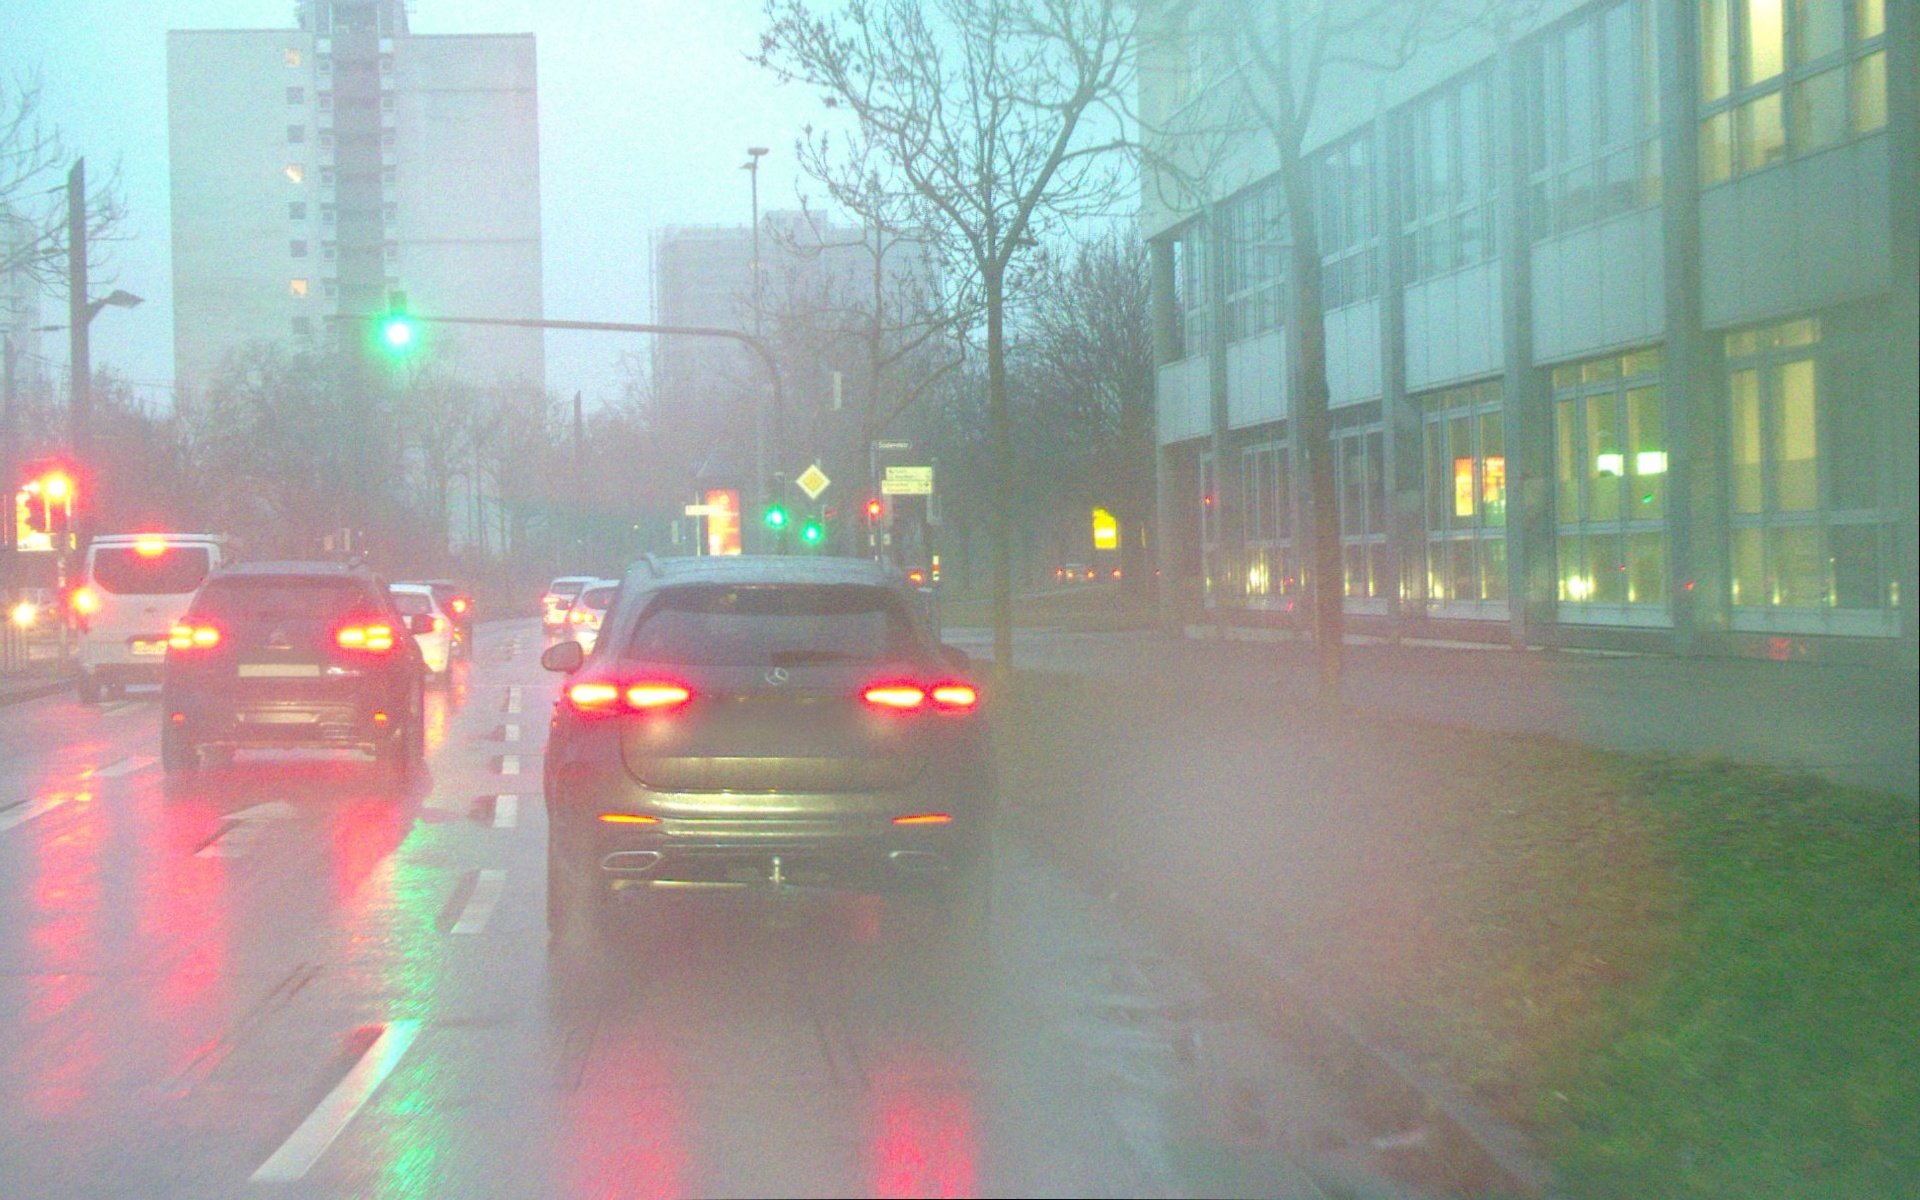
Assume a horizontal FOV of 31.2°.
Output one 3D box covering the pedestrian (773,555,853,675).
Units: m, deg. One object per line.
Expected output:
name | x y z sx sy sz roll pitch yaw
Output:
pedestrian | -2.239 0.223 52.376 0.796 1.744 0.861 -5 1 20

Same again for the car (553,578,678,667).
car | -5.611 0.341 55.711 1.886 1.349 4.102 0 1 -7

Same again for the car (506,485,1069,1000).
car | -0.917 0.579 15.334 1.993 1.969 4.069 1 -1 -10

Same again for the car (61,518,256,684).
car | -10.334 0.004 44.629 1.952 2.026 4.884 0 0 -7

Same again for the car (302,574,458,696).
car | -8.168 0.506 48.721 1.993 1.637 4.023 0 -1 -7

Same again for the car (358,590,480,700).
car | -10.278 0.862 65.603 1.993 2.007 4.000 0 -1 -5

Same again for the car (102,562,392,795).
car | -5.601 0.612 27.467 1.993 1.706 4.325 1 -1 -8
